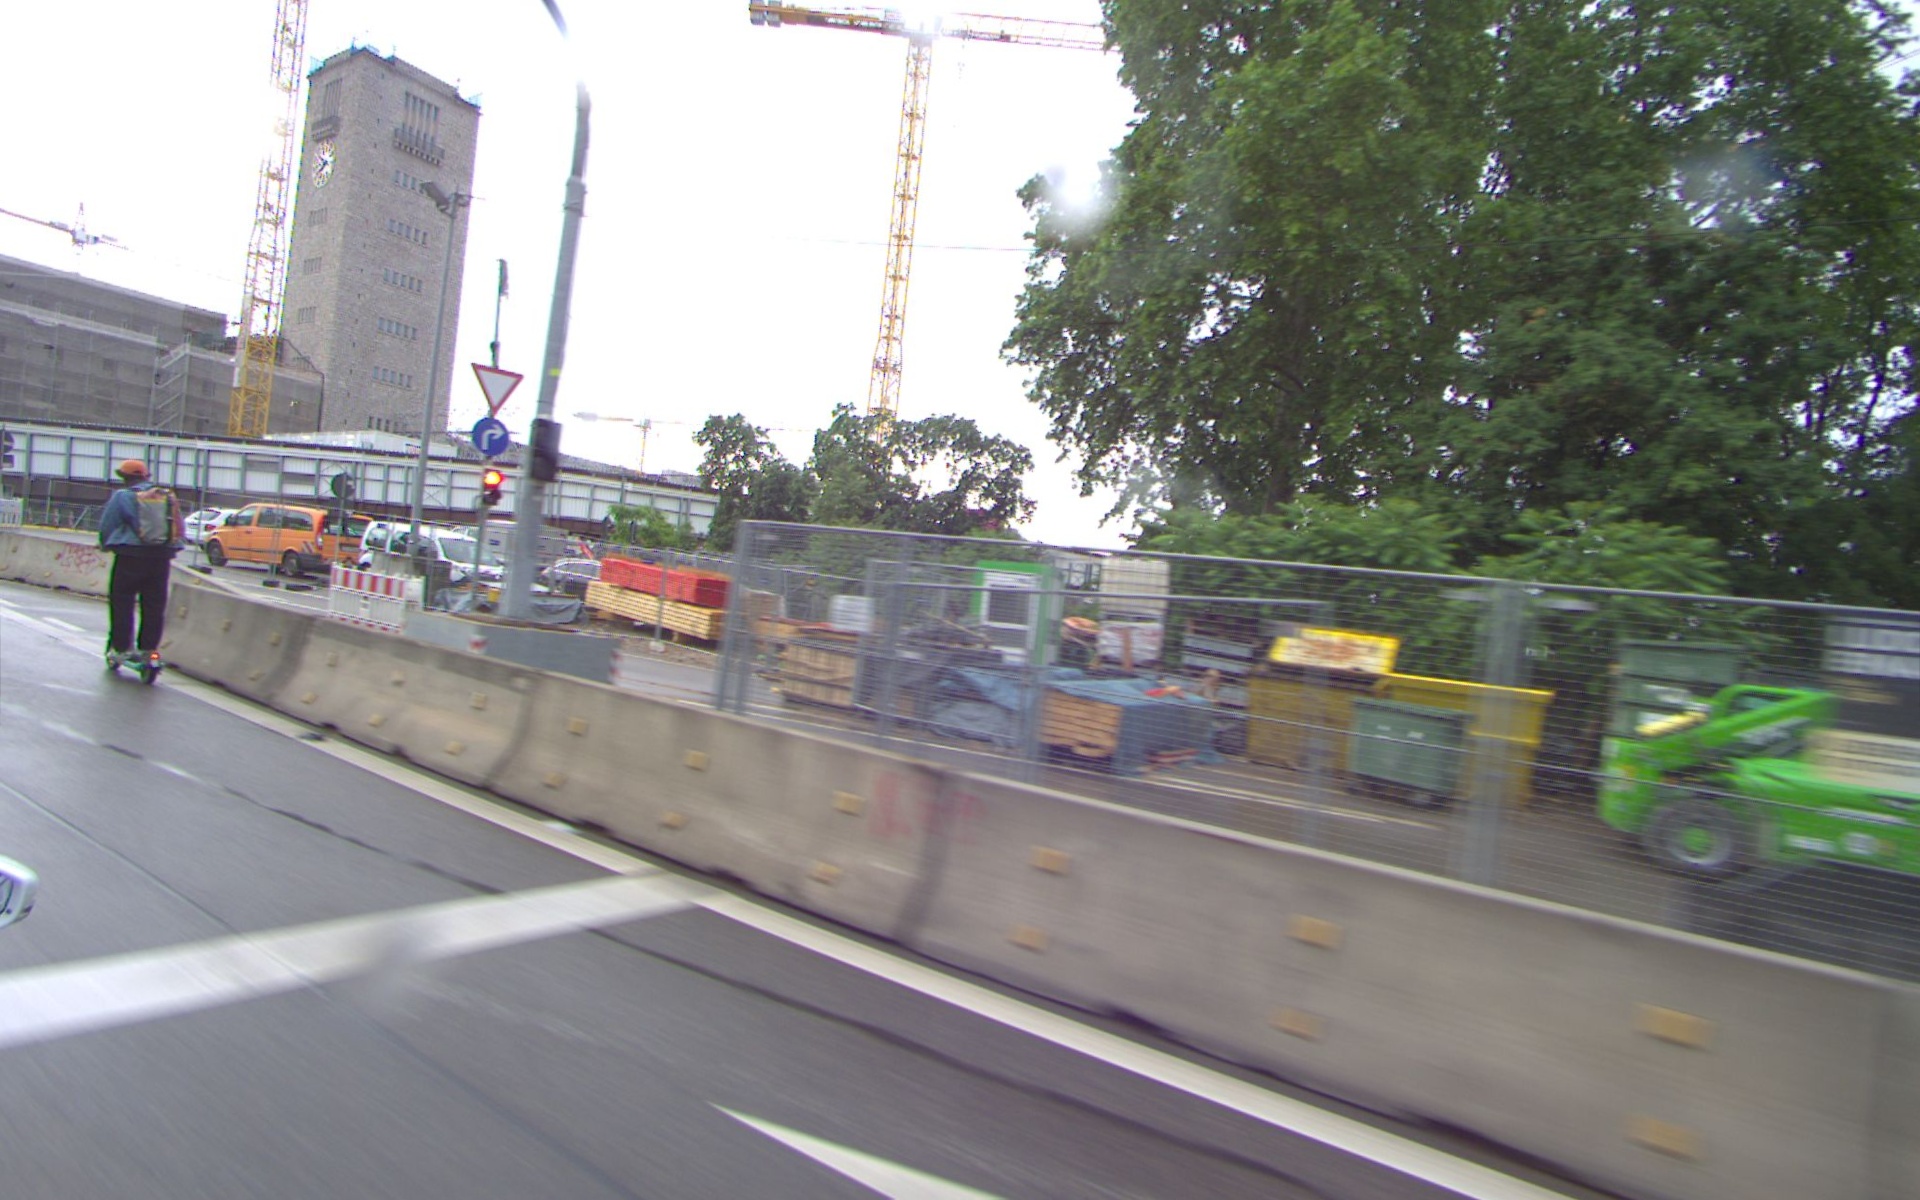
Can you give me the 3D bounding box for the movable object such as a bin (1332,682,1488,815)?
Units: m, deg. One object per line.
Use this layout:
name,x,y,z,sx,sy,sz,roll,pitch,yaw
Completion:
movable object such as a bin,5.560,1.812,12.432,1.173,1.361,1.249,8,1,-43

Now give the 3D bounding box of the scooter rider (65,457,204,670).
scooter rider,-7.507,-0.336,9.143,0.982,1.807,0.597,7,0,36

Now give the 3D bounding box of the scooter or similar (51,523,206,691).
scooter or similar,-7.602,0.043,9.171,1.641,1.335,0.597,7,0,36

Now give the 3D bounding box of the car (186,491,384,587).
car,-18.687,-1.691,27.836,5.068,1.999,1.918,7,0,23

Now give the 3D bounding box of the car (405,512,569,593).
car,-17.304,-1.745,36.797,5.502,2.344,2.049,7,2,21

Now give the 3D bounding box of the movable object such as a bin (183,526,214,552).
movable object such as a bin,-35.873,-2.863,47.401,0.719,1.116,0.990,5,1,36

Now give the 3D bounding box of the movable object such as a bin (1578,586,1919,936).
movable object such as a bin,8.684,1.581,9.961,3.795,2.844,1.812,8,1,23

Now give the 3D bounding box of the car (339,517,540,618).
car,-13.301,-0.845,25.644,4.997,1.829,1.850,8,0,27

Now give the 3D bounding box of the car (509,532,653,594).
car,-11.498,-1.125,30.534,3.929,1.579,1.763,4,1,25

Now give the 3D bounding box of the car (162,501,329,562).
car,-24.080,-2.267,34.069,1.782,1.471,4.212,8,1,23
